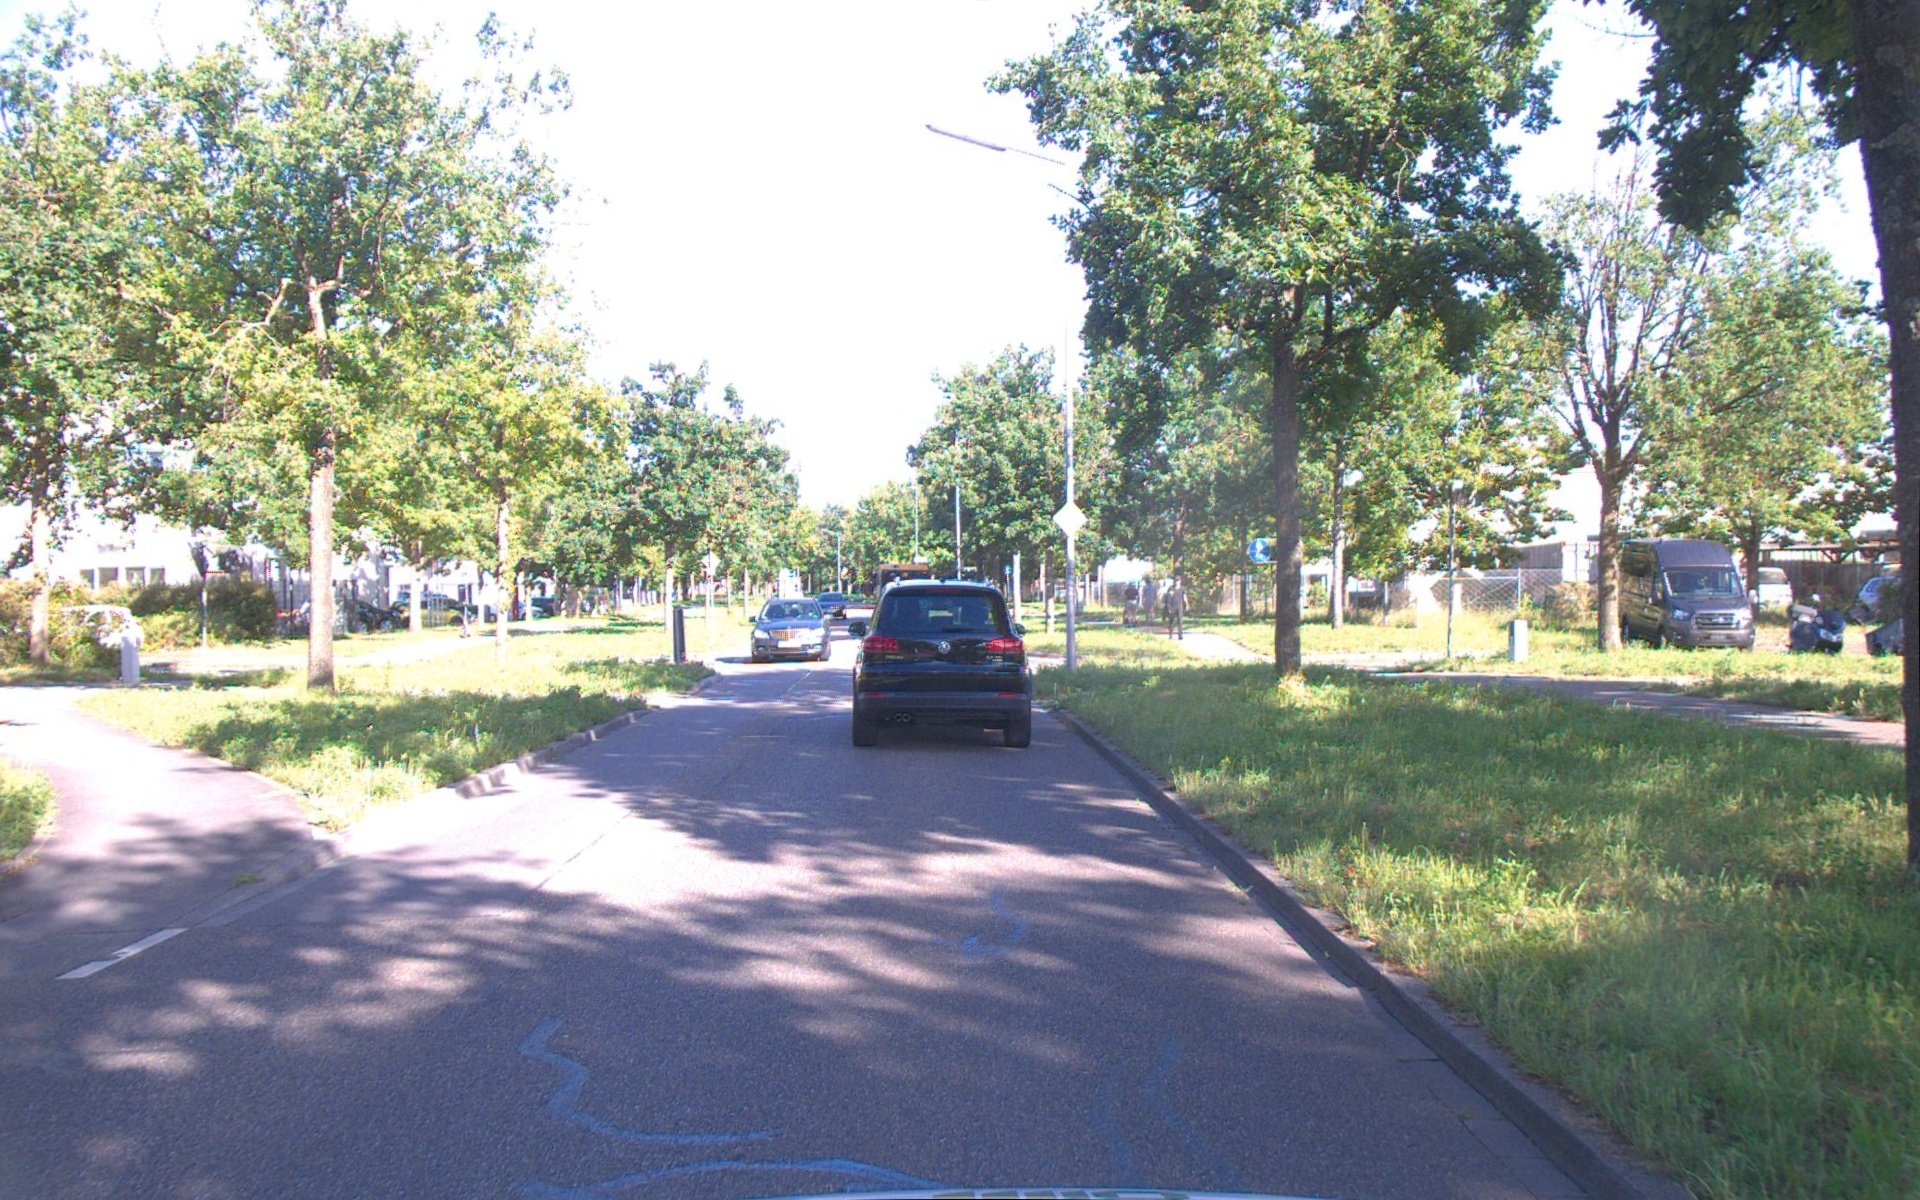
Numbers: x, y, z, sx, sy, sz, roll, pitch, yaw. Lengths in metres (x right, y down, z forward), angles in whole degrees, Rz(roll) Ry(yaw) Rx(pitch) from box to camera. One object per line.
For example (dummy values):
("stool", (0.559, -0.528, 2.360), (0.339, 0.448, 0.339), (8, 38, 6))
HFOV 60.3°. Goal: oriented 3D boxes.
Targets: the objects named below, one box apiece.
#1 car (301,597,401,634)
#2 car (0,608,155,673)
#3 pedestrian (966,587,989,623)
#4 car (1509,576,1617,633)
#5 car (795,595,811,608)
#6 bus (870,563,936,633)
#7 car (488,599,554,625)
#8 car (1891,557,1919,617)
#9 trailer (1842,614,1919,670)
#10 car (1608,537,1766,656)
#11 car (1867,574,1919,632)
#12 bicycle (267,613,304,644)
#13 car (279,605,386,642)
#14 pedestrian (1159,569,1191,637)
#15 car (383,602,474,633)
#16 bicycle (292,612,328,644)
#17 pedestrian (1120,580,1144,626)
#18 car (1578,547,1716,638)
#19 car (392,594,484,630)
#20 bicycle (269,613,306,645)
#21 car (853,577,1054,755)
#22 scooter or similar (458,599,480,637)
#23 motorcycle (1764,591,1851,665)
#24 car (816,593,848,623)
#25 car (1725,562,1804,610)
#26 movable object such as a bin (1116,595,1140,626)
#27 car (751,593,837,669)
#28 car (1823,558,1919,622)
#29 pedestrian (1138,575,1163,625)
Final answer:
("car", (-27.342, 0.672, 74.320), (3.949, 1.537, 1.781), (-1, 1, -33))
("car", (-25.005, 1.121, 46.963), (1.951, 1.530, 3.922), (-1, 3, 8))
("pedestrian", (0.844, 0.212, 78.542), (0.999, 1.680, 1.099), (-1, 0, -3))
("car", (18.958, 0.134, 52.152), (1.965, 1.693, 3.595), (-1, 0, -3))
("car", (-19.801, 0.216, 208.550), (1.709, 1.490, 4.425), (-2, 1, -2))
("bus", (-3.189, -0.154, 89.315), (2.711, 3.517, 11.196), (-1, 0, -6))
("car", (-29.015, 0.792, 109.321), (3.662, 1.646, 1.965), (-1, 0, 12))
("car", (35.947, -0.424, 60.086), (2.040, 2.097, 5.019), (1, 3, 9))
("trailer", (16.461, 0.730, 28.579), (1.545, 0.883, 2.055), (-1, -4, 9))
("car", (17.817, -0.185, 40.882), (2.040, 2.610, 5.979), (1, 3, 9))
("car", (28.709, 0.045, 49.671), (1.796, 1.668, 4.002), (-1, 0, 18))
("bicycle", (-24.726, 1.033, 60.655), (0.626, 1.106, 1.890), (-1, 0, -3))
("car", (-27.002, 0.979, 71.252), (1.770, 1.474, 3.973), (-1, 0, 44))
("pedestrian", (6.026, 0.071, 46.406), (0.711, 1.843, 0.867), (-1, 2, -3))
("car", (-26.826, 0.866, 83.496), (3.925, 1.426, 1.967), (-1, 0, -45))
("bicycle", (-23.736, 1.015, 60.407), (0.626, 1.106, 1.890), (-1, 0, -3))
("pedestrian", (6.254, 0.107, 60.306), (0.711, 1.631, 0.867), (-1, 0, -3))
("car", (21.507, -0.230, 52.014), (2.117, 2.689, 4.848), (-1, 0, -3))
("car", (-30.889, 0.688, 97.919), (1.967, 2.049, 4.823), (-1, 0, 45))
("bicycle", (-23.969, 1.024, 58.984), (0.626, 1.106, 1.890), (-1, 0, -3))
("car", (-0.178, 0.608, 17.949), (1.897, 1.685, 4.424), (1, 1, -3))
("scooter or similar", (-17.386, 0.622, 58.590), (0.387, 1.301, 1.440), (-1, 0, -2))
("motorcycle", (15.582, 0.543, 30.484), (0.648, 1.253, 2.408), (-1, -4, 9))
("car", (-7.396, 0.444, 95.755), (1.769, 1.563, 4.492), (-2, 1, -4))
("car", (29.283, -0.517, 60.307), (1.796, 1.668, 4.003), (-1, 0, 14))
("movable object such as a bin", (6.197, 0.387, 61.185), (0.711, 1.100, 0.867), (-3, 0, -3))
("car", (-3.830, 0.677, 38.747), (1.730, 1.555, 4.493), (-2, 1, -3))
("car", (33.591, -0.418, 60.461), (2.040, 2.097, 5.019), (1, 3, 9))
("pedestrian", (7.081, 0.003, 61.431), (0.711, 1.785, 0.867), (-3, 0, -3))
